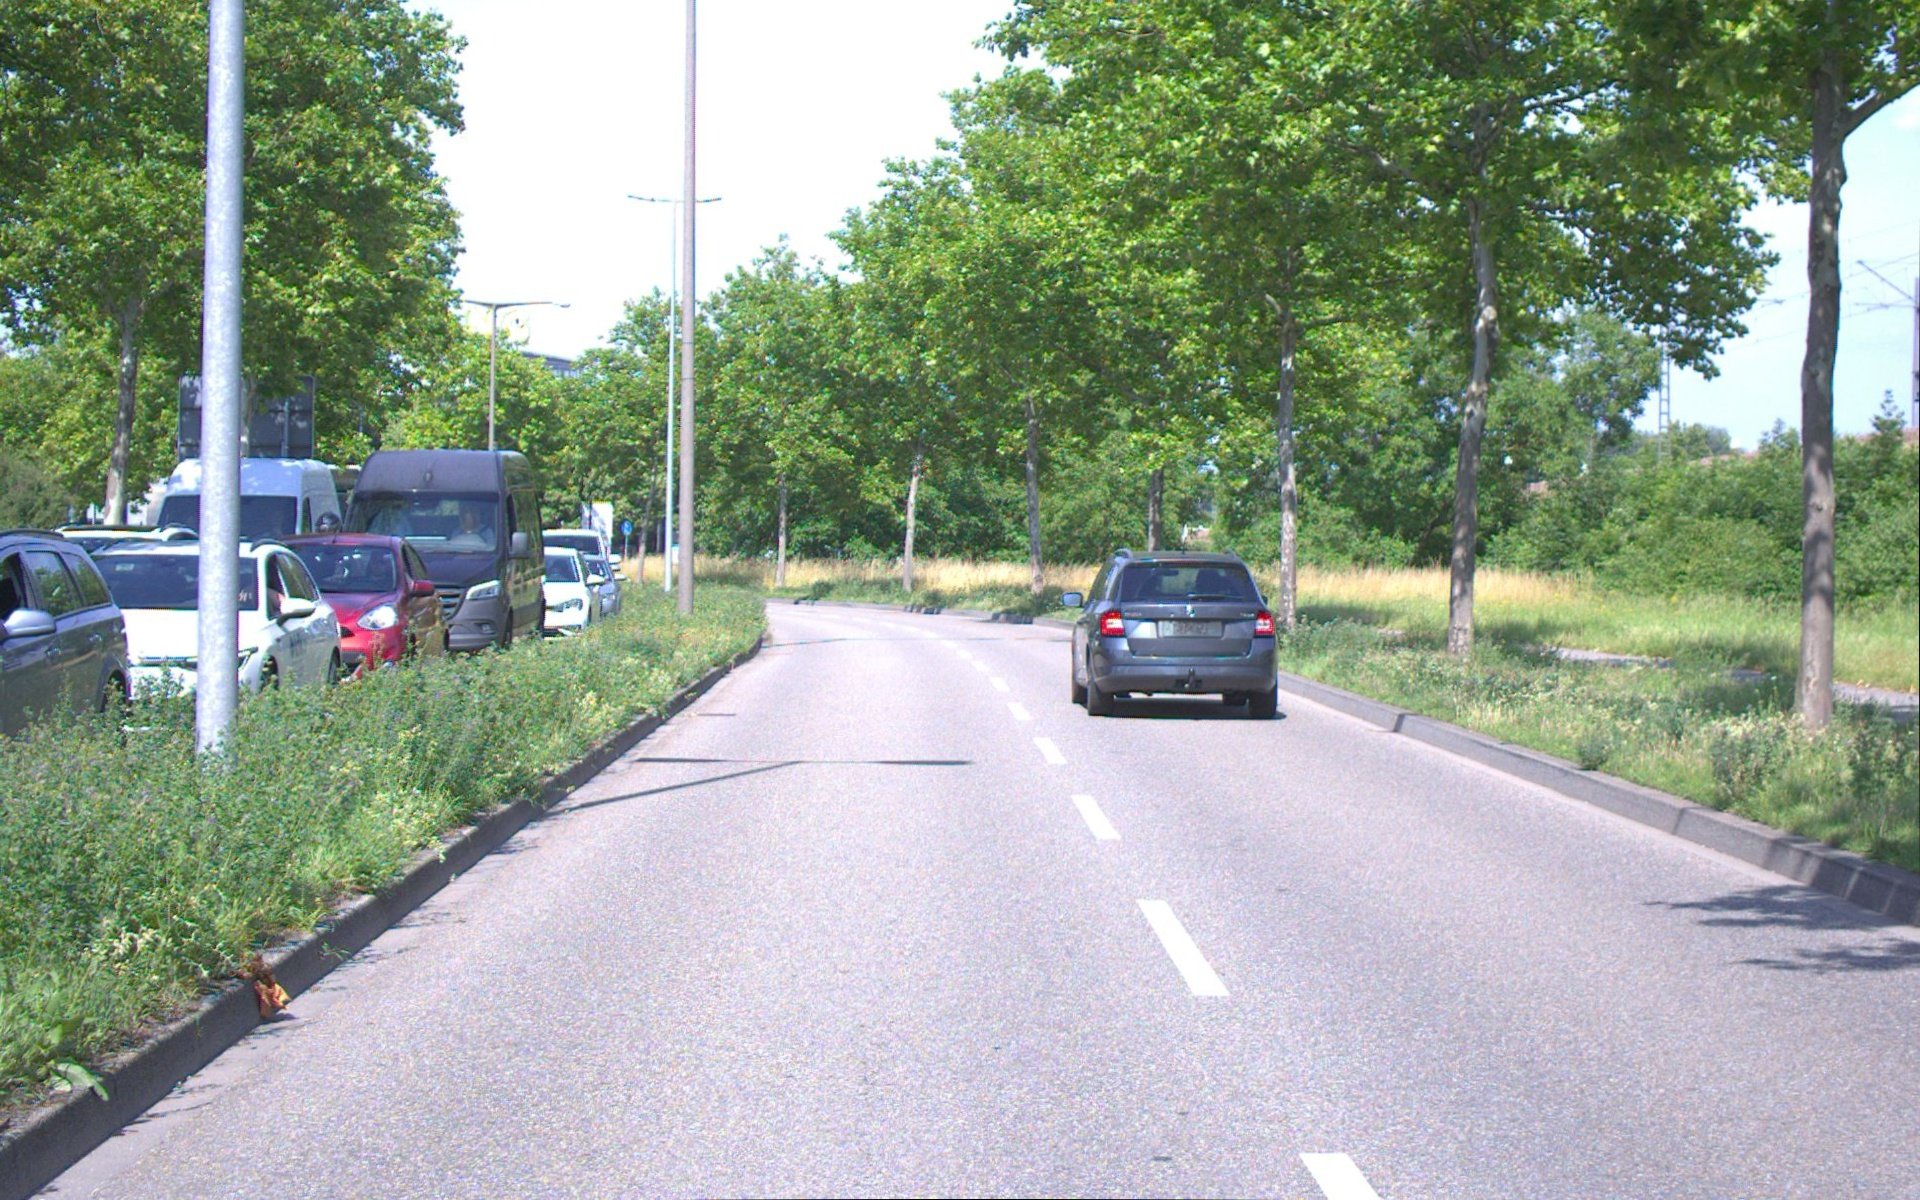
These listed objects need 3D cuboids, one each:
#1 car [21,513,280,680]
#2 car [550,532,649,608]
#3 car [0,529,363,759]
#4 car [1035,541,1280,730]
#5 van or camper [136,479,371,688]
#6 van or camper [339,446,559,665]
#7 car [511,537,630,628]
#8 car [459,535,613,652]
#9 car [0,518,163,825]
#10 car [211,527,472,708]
[{"bbox_3d":[-8.902,-0.070,38.117,1.993,1.750,4.000,0,1,-1],"label":"car"},{"bbox_3d":[-7.468,-0.649,71.440,1.689,1.525,3.815,1,1,-1],"label":"car"},{"bbox_3d":[-5.495,0.238,24.378,1.783,1.454,4.472,1,1,-1],"label":"car"},{"bbox_3d":[1.721,0.266,31.148,1.674,1.448,4.037,4,1,-3],"label":"car"},{"bbox_3d":[-9.225,-0.258,45.352,2.015,2.579,5.517,1,1,-1],"label":"van or camper"},{"bbox_3d":[-5.845,-0.500,39.941,1.938,2.360,5.399,1,0,-2],"label":"van or camper"},{"bbox_3d":[-6.792,-0.300,60.275,1.689,1.525,3.815,1,0,-1],"label":"car"},{"bbox_3d":[-5.812,-0.097,47.438,1.689,1.525,3.815,1,0,-1],"label":"car"},{"bbox_3d":[-5.677,0.322,18.302,1.813,1.525,4.642,0,1,0],"label":"car"},{"bbox_3d":[-5.464,0.109,30.789,1.689,1.505,3.815,1,1,-1],"label":"car"}]
